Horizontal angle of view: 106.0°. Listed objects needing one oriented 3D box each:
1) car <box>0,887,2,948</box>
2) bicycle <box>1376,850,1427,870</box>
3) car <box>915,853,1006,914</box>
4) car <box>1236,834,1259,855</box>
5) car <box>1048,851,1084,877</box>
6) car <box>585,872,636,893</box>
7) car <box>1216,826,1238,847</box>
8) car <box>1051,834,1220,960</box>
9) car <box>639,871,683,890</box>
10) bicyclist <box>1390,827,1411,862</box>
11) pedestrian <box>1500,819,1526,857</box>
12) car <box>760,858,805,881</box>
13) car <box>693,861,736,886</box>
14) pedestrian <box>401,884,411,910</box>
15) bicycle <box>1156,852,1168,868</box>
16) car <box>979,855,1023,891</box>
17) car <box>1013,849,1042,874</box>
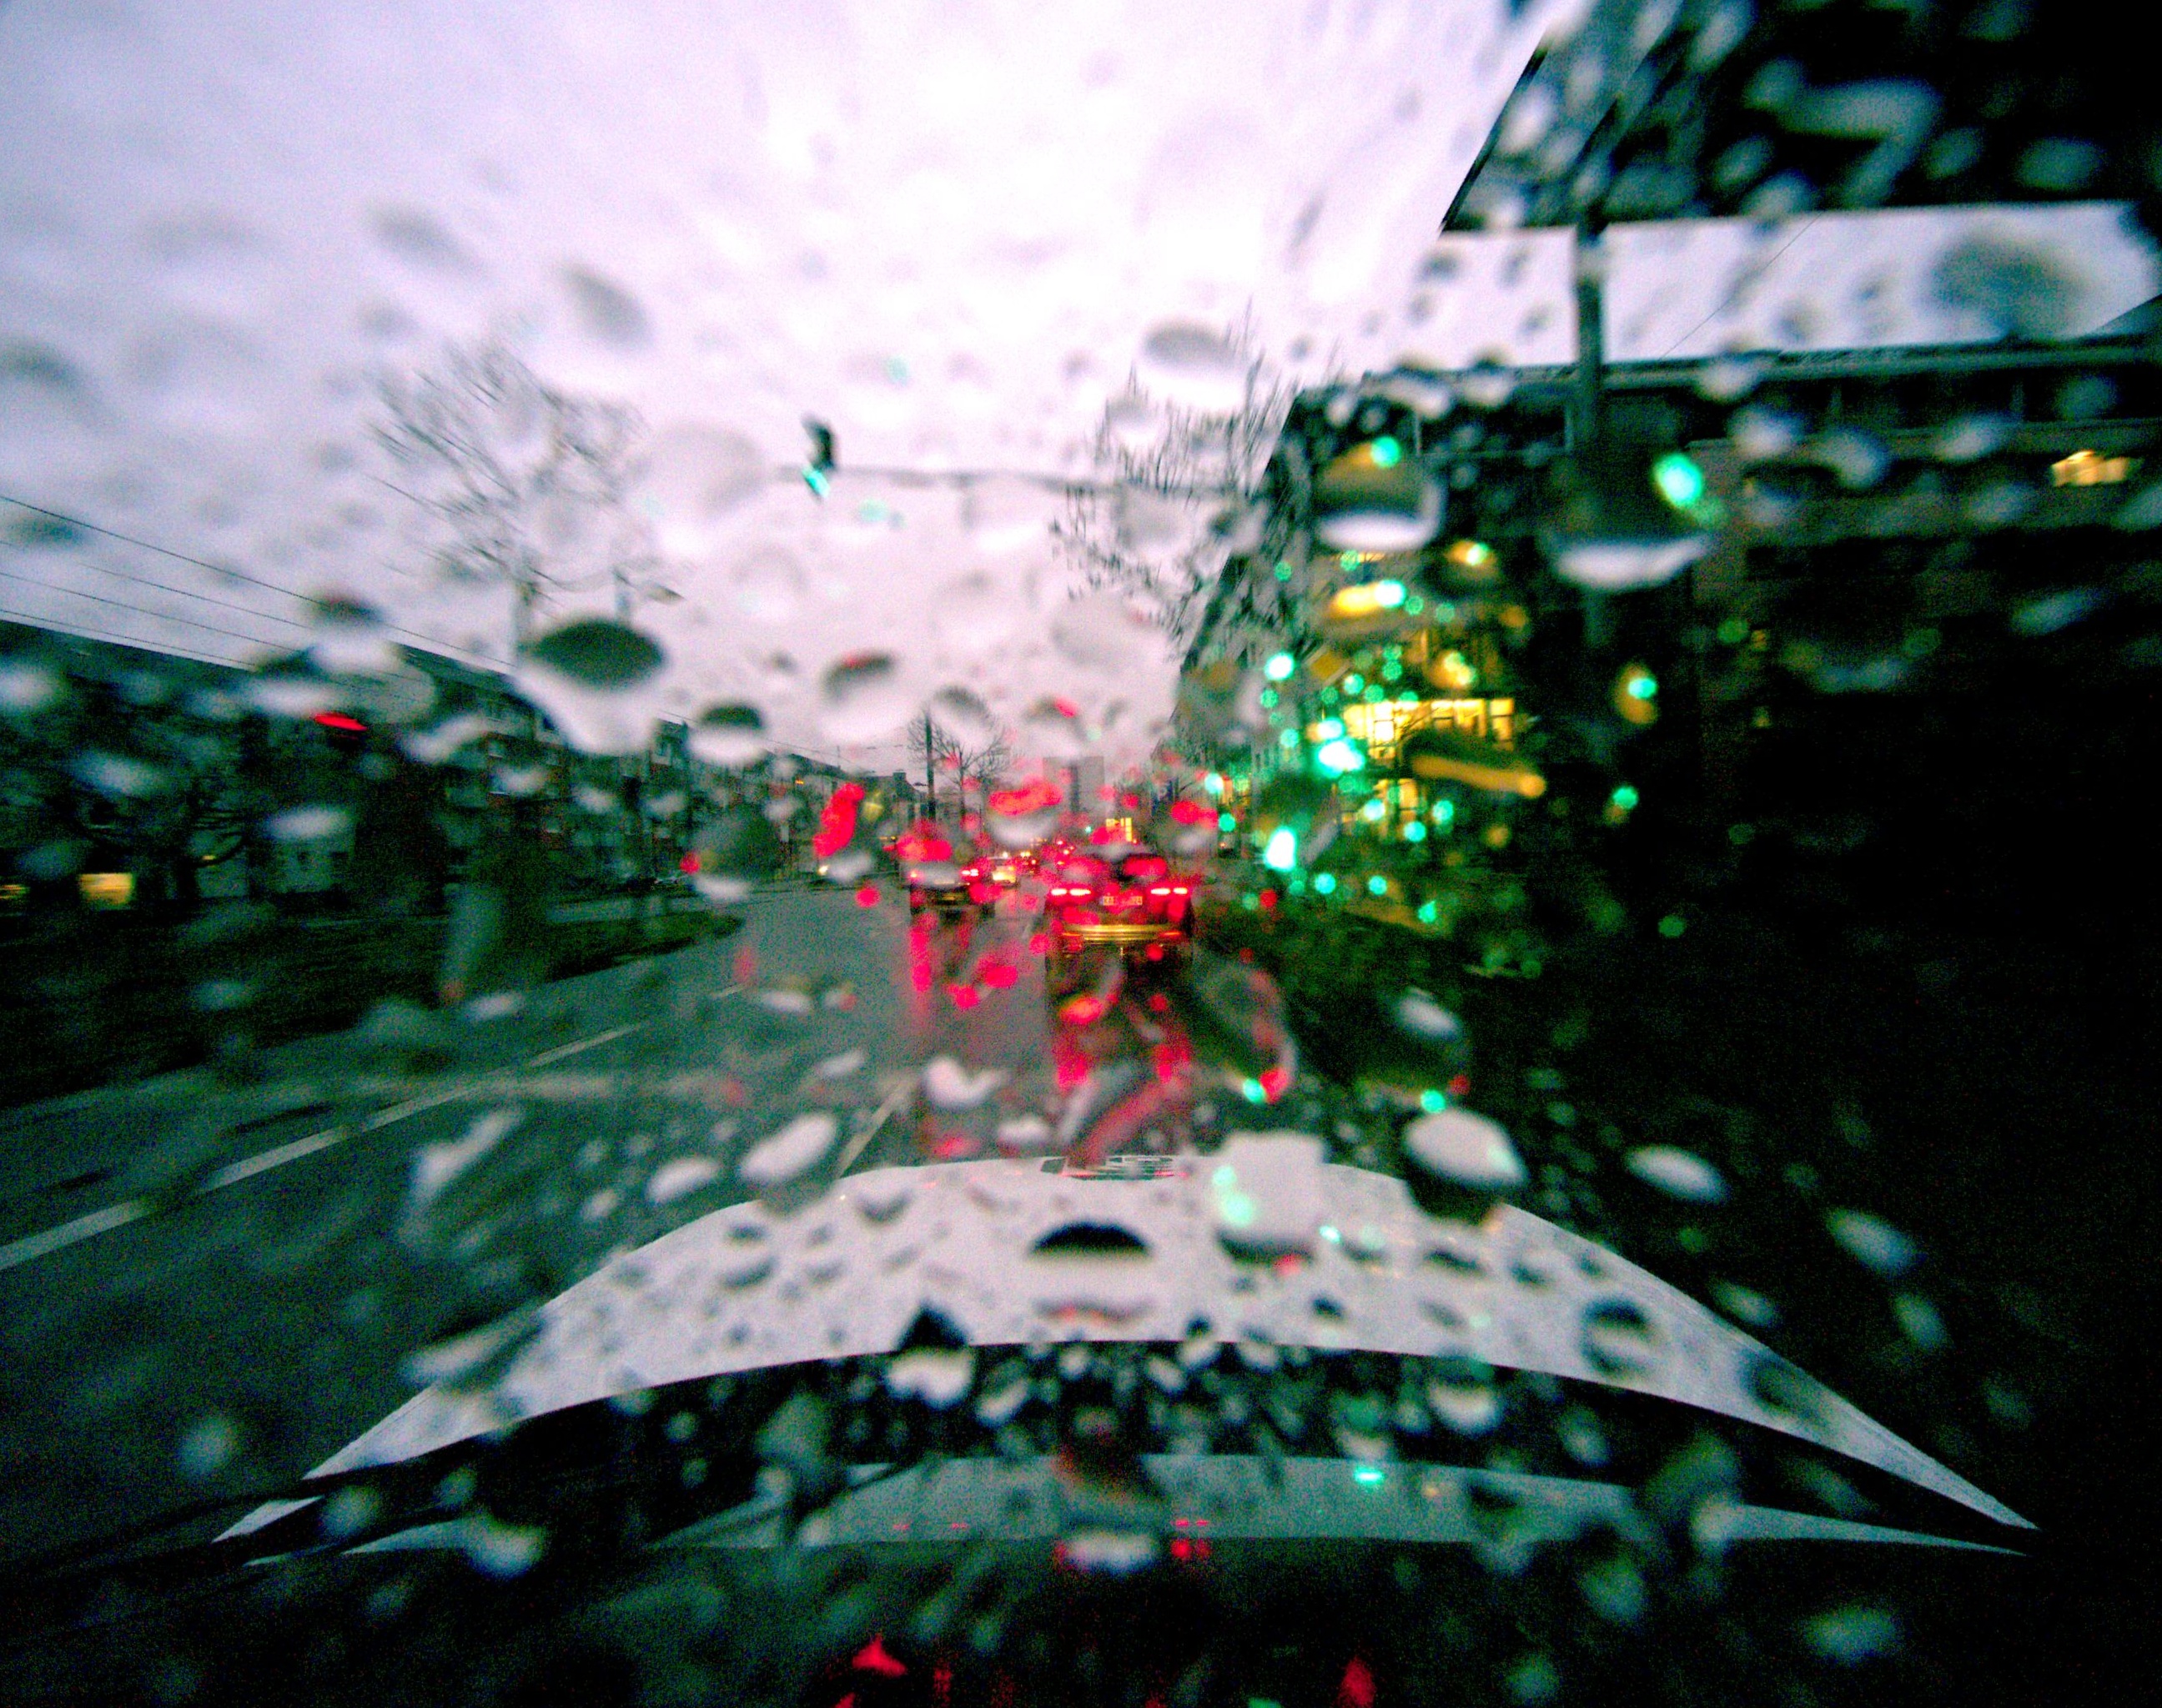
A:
[{"bbox_3d":[-30.056,1.662,21.448,3.749,1.555,1.753,0,0,34],"label":"car"},{"bbox_3d":[12.328,0.224,31.324,1.711,0.745,0.656,0,0,35],"label":"bicycle"},{"bbox_3d":[-3.066,0.700,21.502,1.812,1.450,3.999,0,0,0],"label":"car"},{"bbox_3d":[14.217,-0.807,69.476,1.619,1.759,3.428,0,0,6],"label":"car"},{"bbox_3d":[-0.867,0.563,49.686,1.859,1.543,3.615,0,0,4],"label":"car"},{"bbox_3d":[-31.503,1.880,54.626,1.440,1.287,3.386,0,0,1],"label":"car"},{"bbox_3d":[12.458,-1.485,69.672,1.619,1.759,3.428,0,0,6],"label":"car"},{"bbox_3d":[0.693,0.507,11.473,1.986,1.483,3.701,0,0,1],"label":"car"},{"bbox_3d":[-31.226,1.920,60.603,1.440,1.287,3.386,0,0,1],"label":"car"},{"bbox_3d":[12.307,-0.347,31.377,0.615,1.330,0.569,0,0,34],"label":"bicyclist"},{"bbox_3d":[19.128,-0.690,36.078,0.804,1.654,0.727,0,0,3],"label":"pedestrian"},{"bbox_3d":[-18.440,0.948,50.432,1.440,1.342,3.637,0,0,1],"label":"car"},{"bbox_3d":[-31.409,1.652,69.846,1.988,2.013,3.997,0,0,-2],"label":"car"},{"bbox_3d":[-31.093,1.965,37.504,0.348,1.184,0.429,0,0,-39],"label":"pedestrian"},{"bbox_3d":[5.008,0.353,50.469,0.543,0.965,1.345,0,0,-1],"label":"bicycle"},{"bbox_3d":[-3.762,0.874,38.684,1.683,1.635,3.475,0,0,1],"label":"car"},{"bbox_3d":[-3.759,0.518,57.595,1.655,1.759,3.570,0,0,3],"label":"car"}]
